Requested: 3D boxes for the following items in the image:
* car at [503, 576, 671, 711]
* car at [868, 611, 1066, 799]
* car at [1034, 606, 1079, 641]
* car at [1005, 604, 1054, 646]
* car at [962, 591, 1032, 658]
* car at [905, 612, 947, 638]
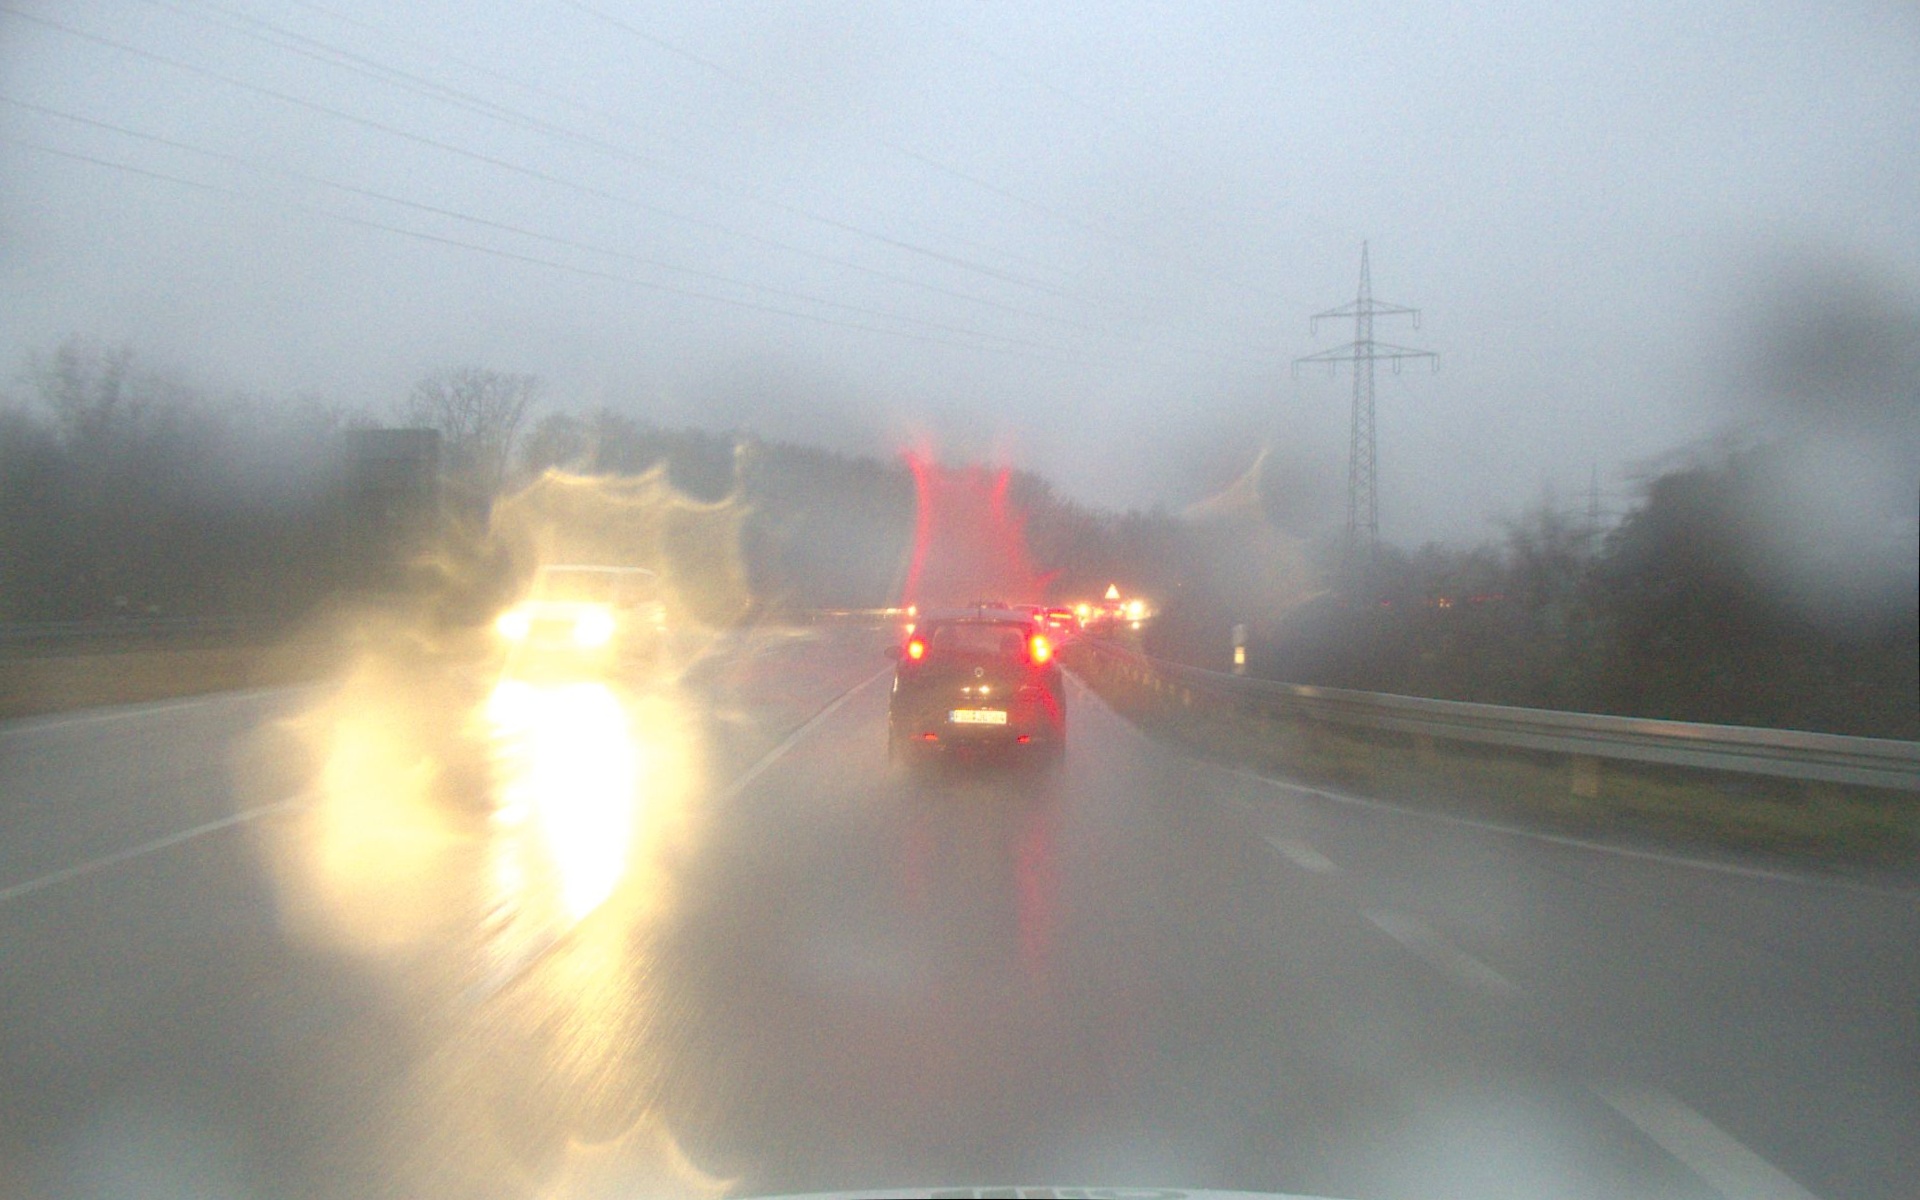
[{"bbox_3d":[-6.615,0.708,29.910,1.833,2.174,5.179,-1,0,0],"label":"car"},{"bbox_3d":[0.044,0.931,16.527,1.695,1.559,4.042,-2,0,0],"label":"car"},{"bbox_3d":[5.414,1.261,92.208,1.905,1.775,4.003,4,0,10],"label":"car"},{"bbox_3d":[3.157,1.103,74.702,1.905,1.775,4.003,2,0,6],"label":"car"},{"bbox_3d":[1.246,0.772,54.339,1.905,2.049,4.003,2,0,6],"label":"car"},{"bbox_3d":[-1.840,1.376,91.393,1.561,1.265,4.003,4,1,9],"label":"car"}]
